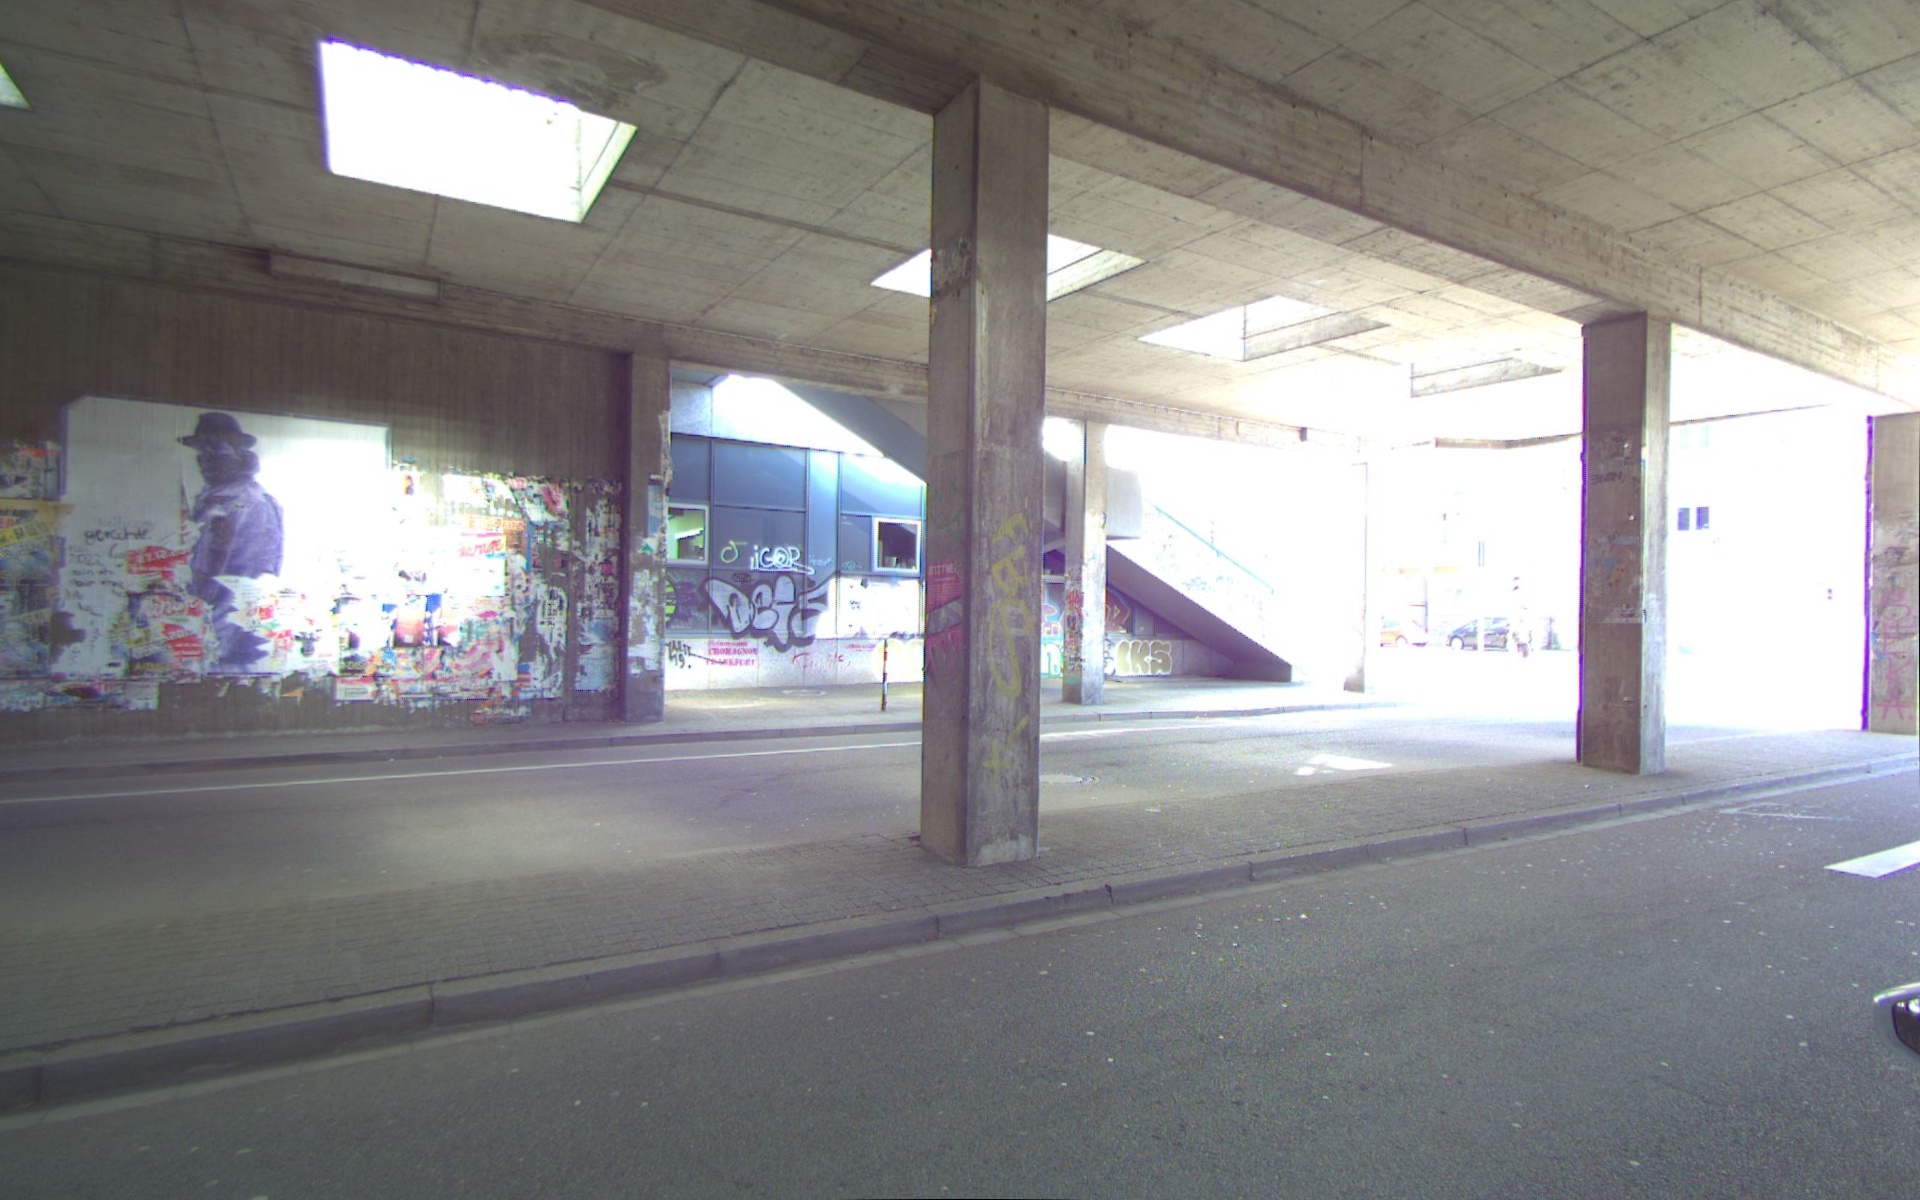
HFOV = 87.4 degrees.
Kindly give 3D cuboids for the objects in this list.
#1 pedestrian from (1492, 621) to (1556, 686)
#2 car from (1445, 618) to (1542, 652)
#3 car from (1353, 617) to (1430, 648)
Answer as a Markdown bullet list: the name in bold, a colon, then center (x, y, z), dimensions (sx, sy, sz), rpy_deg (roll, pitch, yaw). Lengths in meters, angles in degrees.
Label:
- **pedestrian**: center (15.802, 1.488, 28.168), dimensions (1.123, 1.760, 1.111), rpy_deg (1, -1, -17)
- **car**: center (25.363, 1.651, 47.845), dimensions (1.732, 1.528, 3.735), rpy_deg (1, -1, -31)
- **car**: center (22.478, 1.697, 52.461), dimensions (1.543, 1.526, 3.518), rpy_deg (1, -1, -29)
